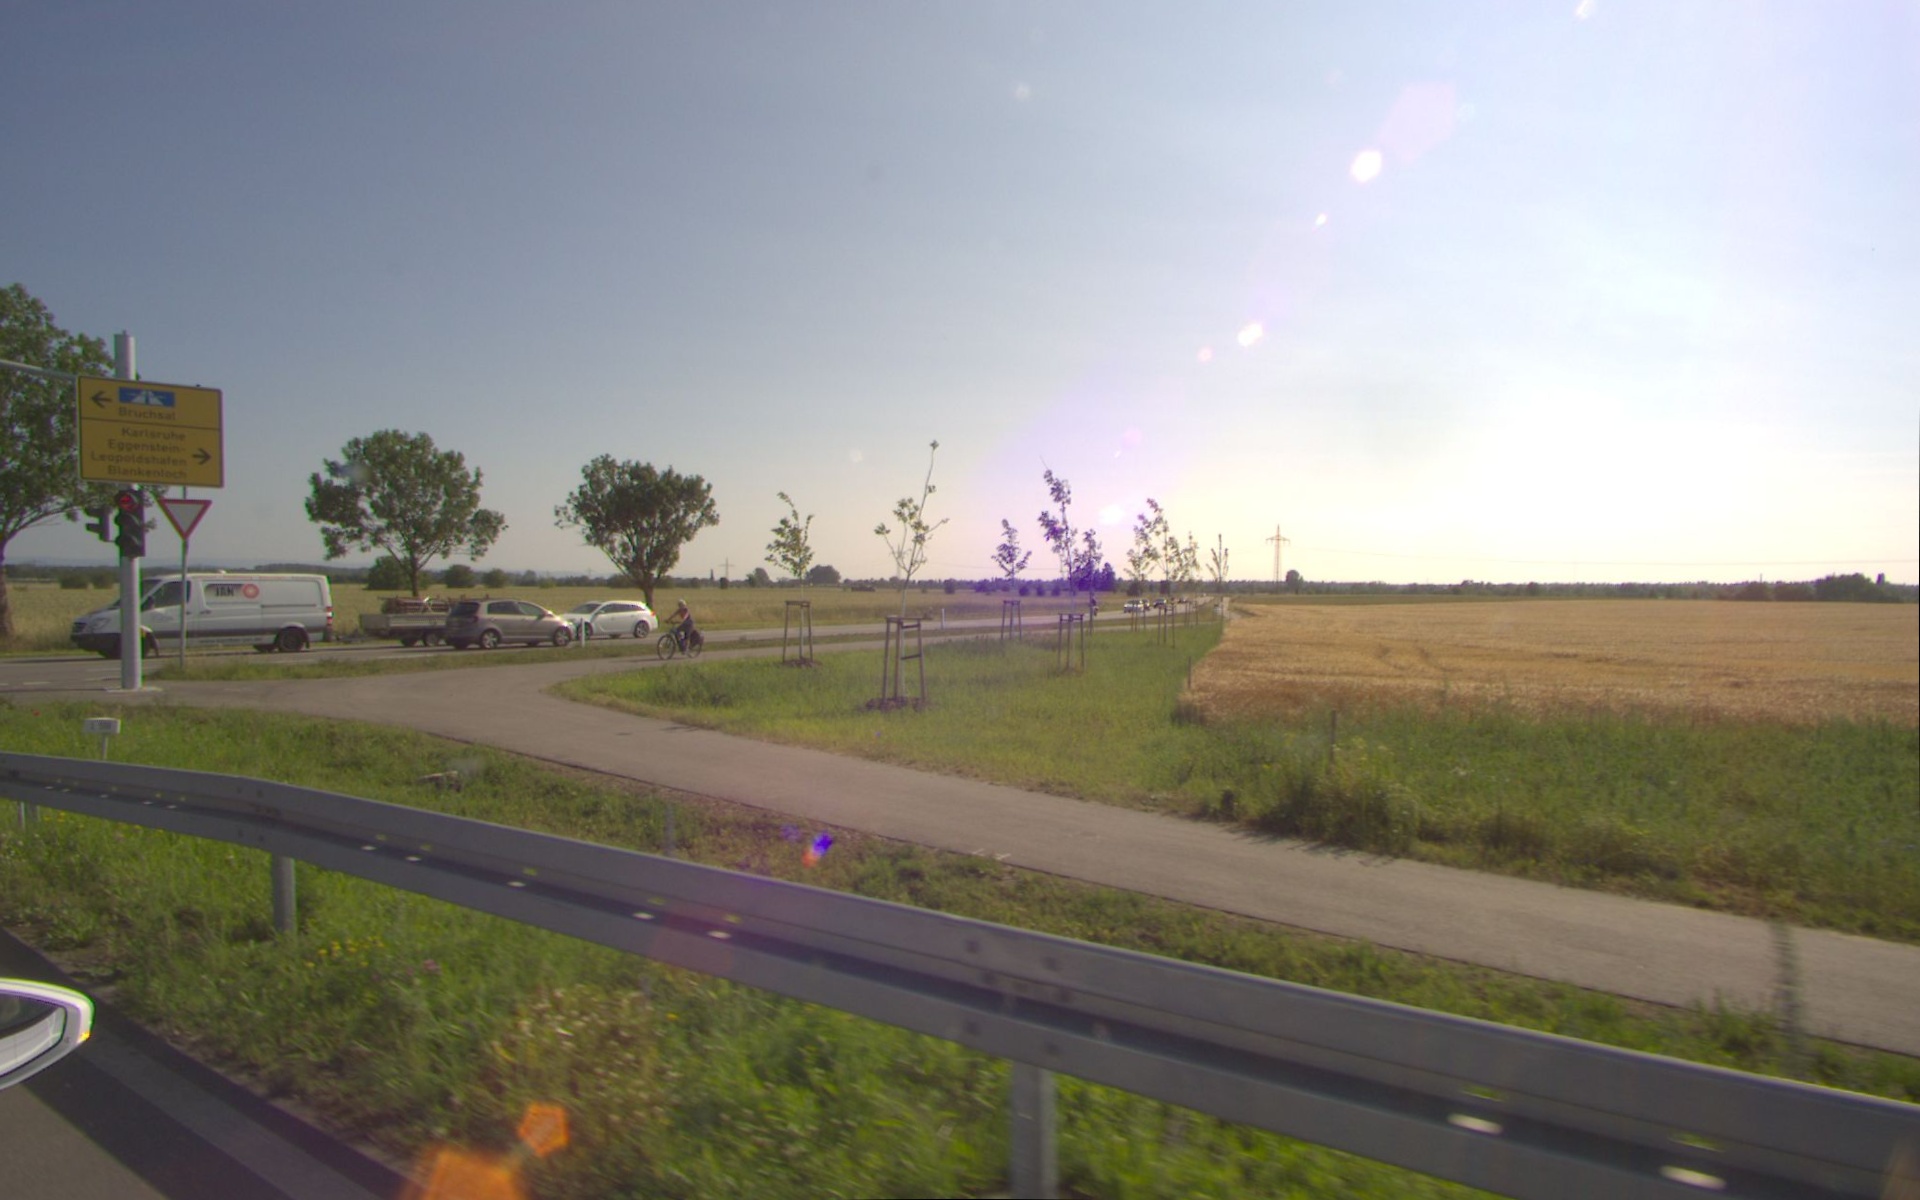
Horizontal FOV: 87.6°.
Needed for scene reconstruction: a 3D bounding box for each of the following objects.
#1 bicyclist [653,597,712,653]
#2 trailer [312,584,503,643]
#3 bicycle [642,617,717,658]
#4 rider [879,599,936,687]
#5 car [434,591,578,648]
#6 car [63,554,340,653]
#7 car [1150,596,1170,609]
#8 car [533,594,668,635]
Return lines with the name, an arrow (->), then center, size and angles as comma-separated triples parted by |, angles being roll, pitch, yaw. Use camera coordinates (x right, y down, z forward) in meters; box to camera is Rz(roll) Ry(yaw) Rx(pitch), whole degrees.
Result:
bicyclist -> -8.373, 0.737, 30.266 | 1.148, 1.623, 1.276 | 2, 1, 32
trailer -> -18.075, 0.410, 33.043 | 1.927, 1.776, 5.246 | 0, 0, 34
bicycle -> -8.433, 1.109, 30.168 | 0.877, 1.201, 2.152 | 0, 0, 31
rider -> -1.042, 0.833, 19.706 | 0.973, 1.665, 0.820 | 1, 2, -12
car -> -14.511, 0.646, 32.216 | 1.737, 1.689, 3.952 | 0, -1, 29
car -> -21.220, 0.178, 28.373 | 1.973, 2.524, 5.943 | 0, -1, 34
car -> 29.285, 0.362, 146.570 | 1.965, 1.714, 4.871 | 4, 3, 20
car -> -14.090, 0.610, 39.515 | 1.971, 1.529, 4.861 | 0, -2, 31
